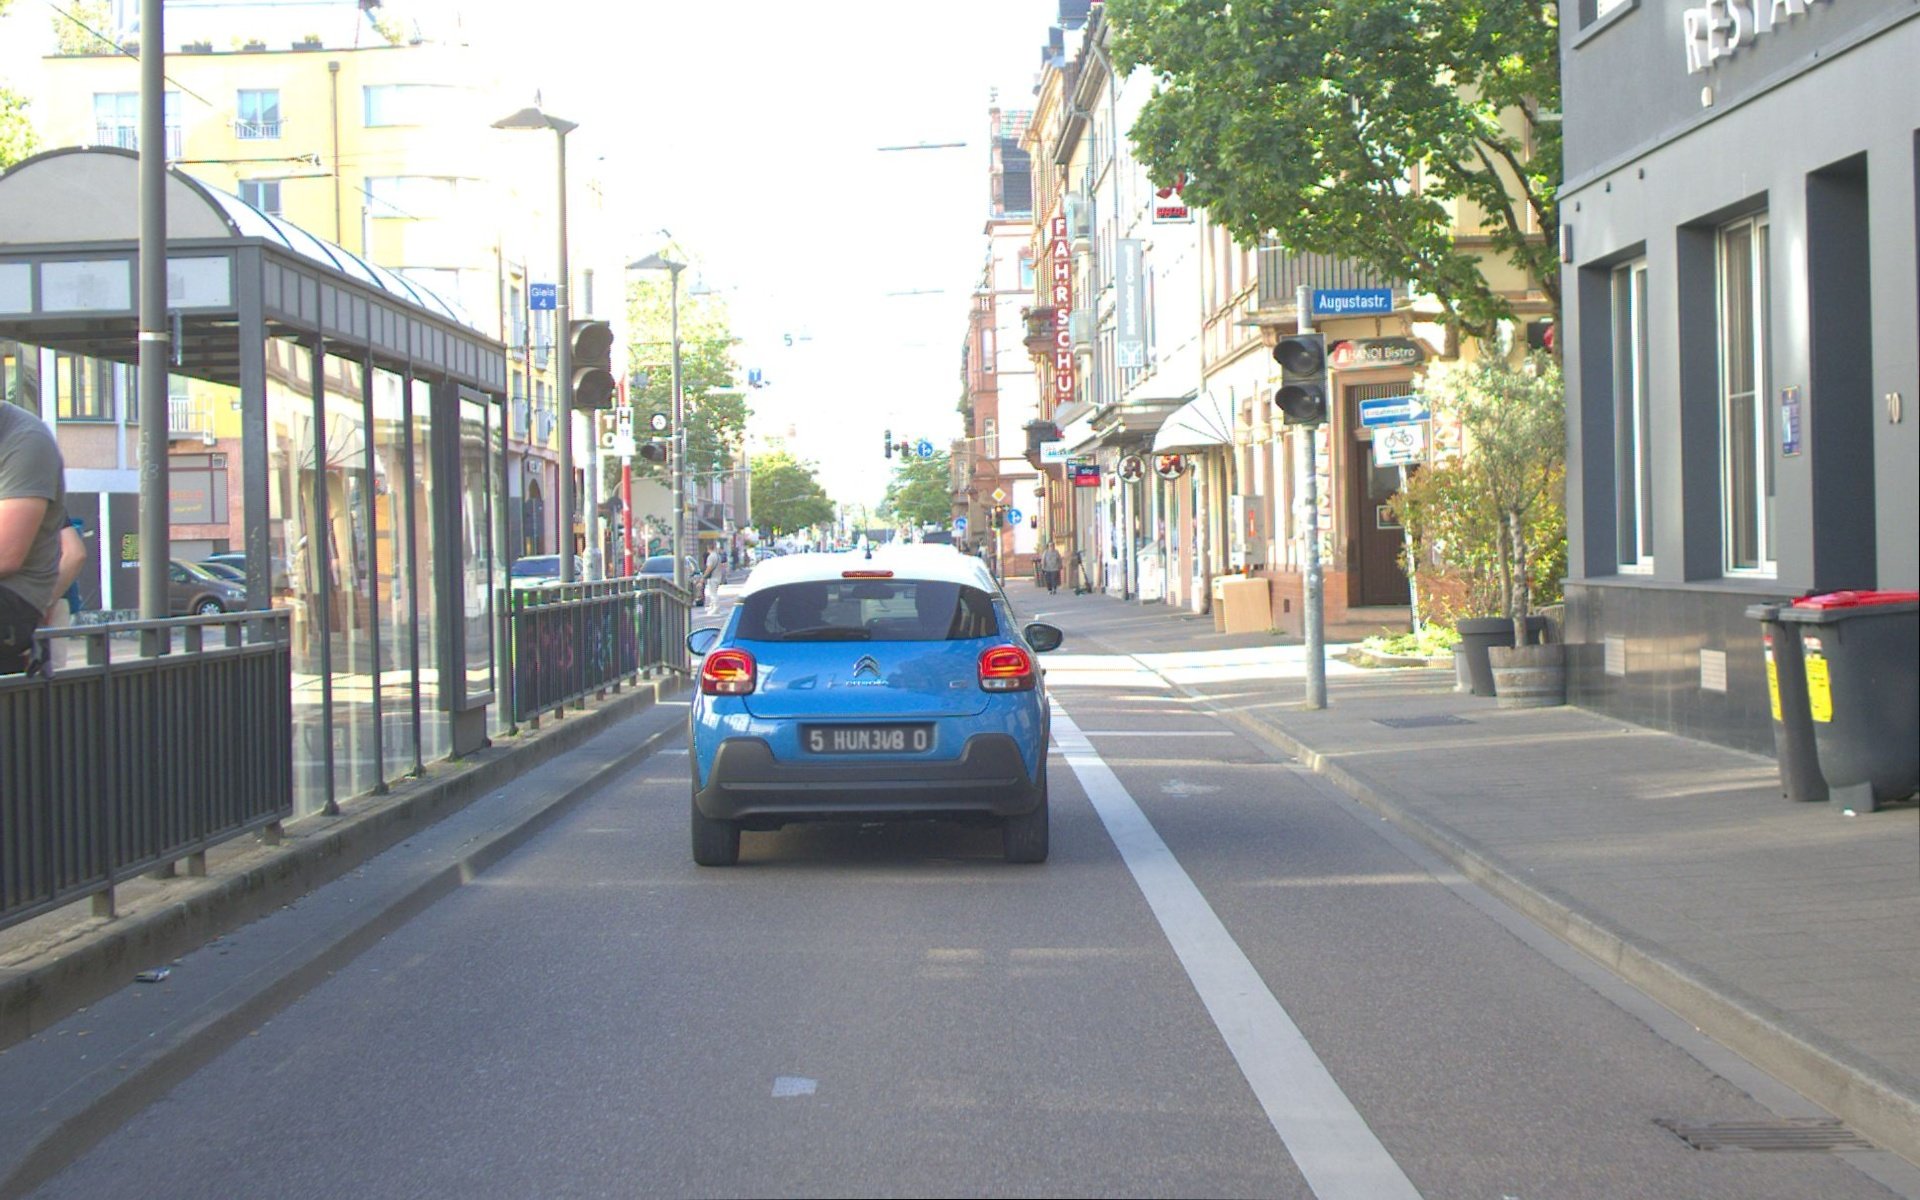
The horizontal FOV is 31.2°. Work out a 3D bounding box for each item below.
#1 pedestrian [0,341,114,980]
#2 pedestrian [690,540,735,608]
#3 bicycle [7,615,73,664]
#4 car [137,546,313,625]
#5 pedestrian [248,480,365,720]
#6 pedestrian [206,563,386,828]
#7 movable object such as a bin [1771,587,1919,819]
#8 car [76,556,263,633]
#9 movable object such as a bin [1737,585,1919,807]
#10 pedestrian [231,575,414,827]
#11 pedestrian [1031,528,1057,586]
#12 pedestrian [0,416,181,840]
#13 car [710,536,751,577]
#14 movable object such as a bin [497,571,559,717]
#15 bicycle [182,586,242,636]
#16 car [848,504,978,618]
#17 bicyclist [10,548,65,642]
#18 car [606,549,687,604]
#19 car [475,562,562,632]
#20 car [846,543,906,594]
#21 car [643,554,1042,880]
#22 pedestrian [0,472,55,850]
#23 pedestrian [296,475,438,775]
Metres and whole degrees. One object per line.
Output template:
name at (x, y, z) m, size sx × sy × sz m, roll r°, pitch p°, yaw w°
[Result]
pedestrian at (-2.818, 0.161, 9.518) m, size 0.636 × 1.692 × 0.933 m, roll 0°, pitch 0°, yaw 7°
pedestrian at (-6.075, -0.641, 84.282) m, size 0.838 × 1.648 × 0.697 m, roll -2°, pitch 1°, yaw -29°
bicycle at (-15.566, 0.660, 58.206) m, size 0.566 × 0.755 × 1.937 m, roll -2°, pitch 1°, yaw 0°
car at (-18.222, -0.376, 85.418) m, size 3.986 × 1.841 × 1.958 m, roll -2°, pitch 1°, yaw -4°
pedestrian at (-4.325, -0.006, 22.779) m, size 0.621 × 1.553 × 0.568 m, roll -2°, pitch 1°, yaw 0°
pedestrian at (-3.315, 0.467, 17.214) m, size 0.711 × 1.268 × 0.657 m, roll -2°, pitch 1°, yaw 2°
movable object such as a bin at (4.468, 0.491, 16.767) m, size 0.748 × 1.033 × 0.753 m, roll -5°, pitch 1°, yaw 0°
car at (-18.605, -0.144, 81.011) m, size 3.986 × 1.669 × 1.958 m, roll -2°, pitch 1°, yaw -4°
movable object such as a bin at (4.469, 0.478, 17.523) m, size 0.748 × 1.033 × 0.753 m, roll -5°, pitch 1°, yaw 0°
pedestrian at (-3.349, 0.520, 18.102) m, size 0.764 × 1.268 × 0.719 m, roll -2°, pitch 1°, yaw 2°
pedestrian at (2.432, -1.242, 99.589) m, size 0.693 × 1.645 × 0.680 m, roll -2°, pitch 1°, yaw -1°
pedestrian at (-3.846, 0.113, 14.796) m, size 0.718 × 1.771 × 0.564 m, roll -1°, pitch 1°, yaw 35°
car at (-11.670, -2.204, 174.971) m, size 1.993 × 2.007 × 4.000 m, roll 0°, pitch 0°, yaw -2°
movable object such as a bin at (-3.026, 0.304, 24.075) m, size 0.346 × 1.004 × 0.404 m, roll -2°, pitch 1°, yaw 1°
bicycle at (-16.150, 0.224, 74.268) m, size 0.679 × 0.999 × 2.686 m, roll -2°, pitch 1°, yaw 0°
car at (-0.738, -0.595, 54.776) m, size 1.993 × 1.737 × 4.000 m, roll 0°, pitch 0°, yaw -1°
bicyclist at (-15.617, -0.086, 58.193) m, size 0.672 × 1.552 × 0.778 m, roll -2°, pitch 1°, yaw 0°
car at (-9.320, -0.716, 102.435) m, size 1.951 × 1.481 × 4.000 m, roll -3°, pitch 1°, yaw 0°
car at (-11.184, -0.106, 87.307) m, size 1.752 × 1.609 × 4.828 m, roll -3°, pitch 1°, yaw -3°
car at (-2.903, -1.083, 119.455) m, size 1.993 × 1.737 × 4.000 m, roll 0°, pitch 0°, yaw -1°
car at (-0.545, 0.500, 17.237) m, size 1.781 × 1.446 × 3.654 m, roll 0°, pitch 1°, yaw -1°
pedestrian at (-4.193, 0.256, 14.368) m, size 0.586 × 1.556 × 0.469 m, roll -1°, pitch 1°, yaw 35°
pedestrian at (-3.553, 0.141, 20.570) m, size 0.563 × 1.745 × 0.719 m, roll -3°, pitch 1°, yaw -29°
